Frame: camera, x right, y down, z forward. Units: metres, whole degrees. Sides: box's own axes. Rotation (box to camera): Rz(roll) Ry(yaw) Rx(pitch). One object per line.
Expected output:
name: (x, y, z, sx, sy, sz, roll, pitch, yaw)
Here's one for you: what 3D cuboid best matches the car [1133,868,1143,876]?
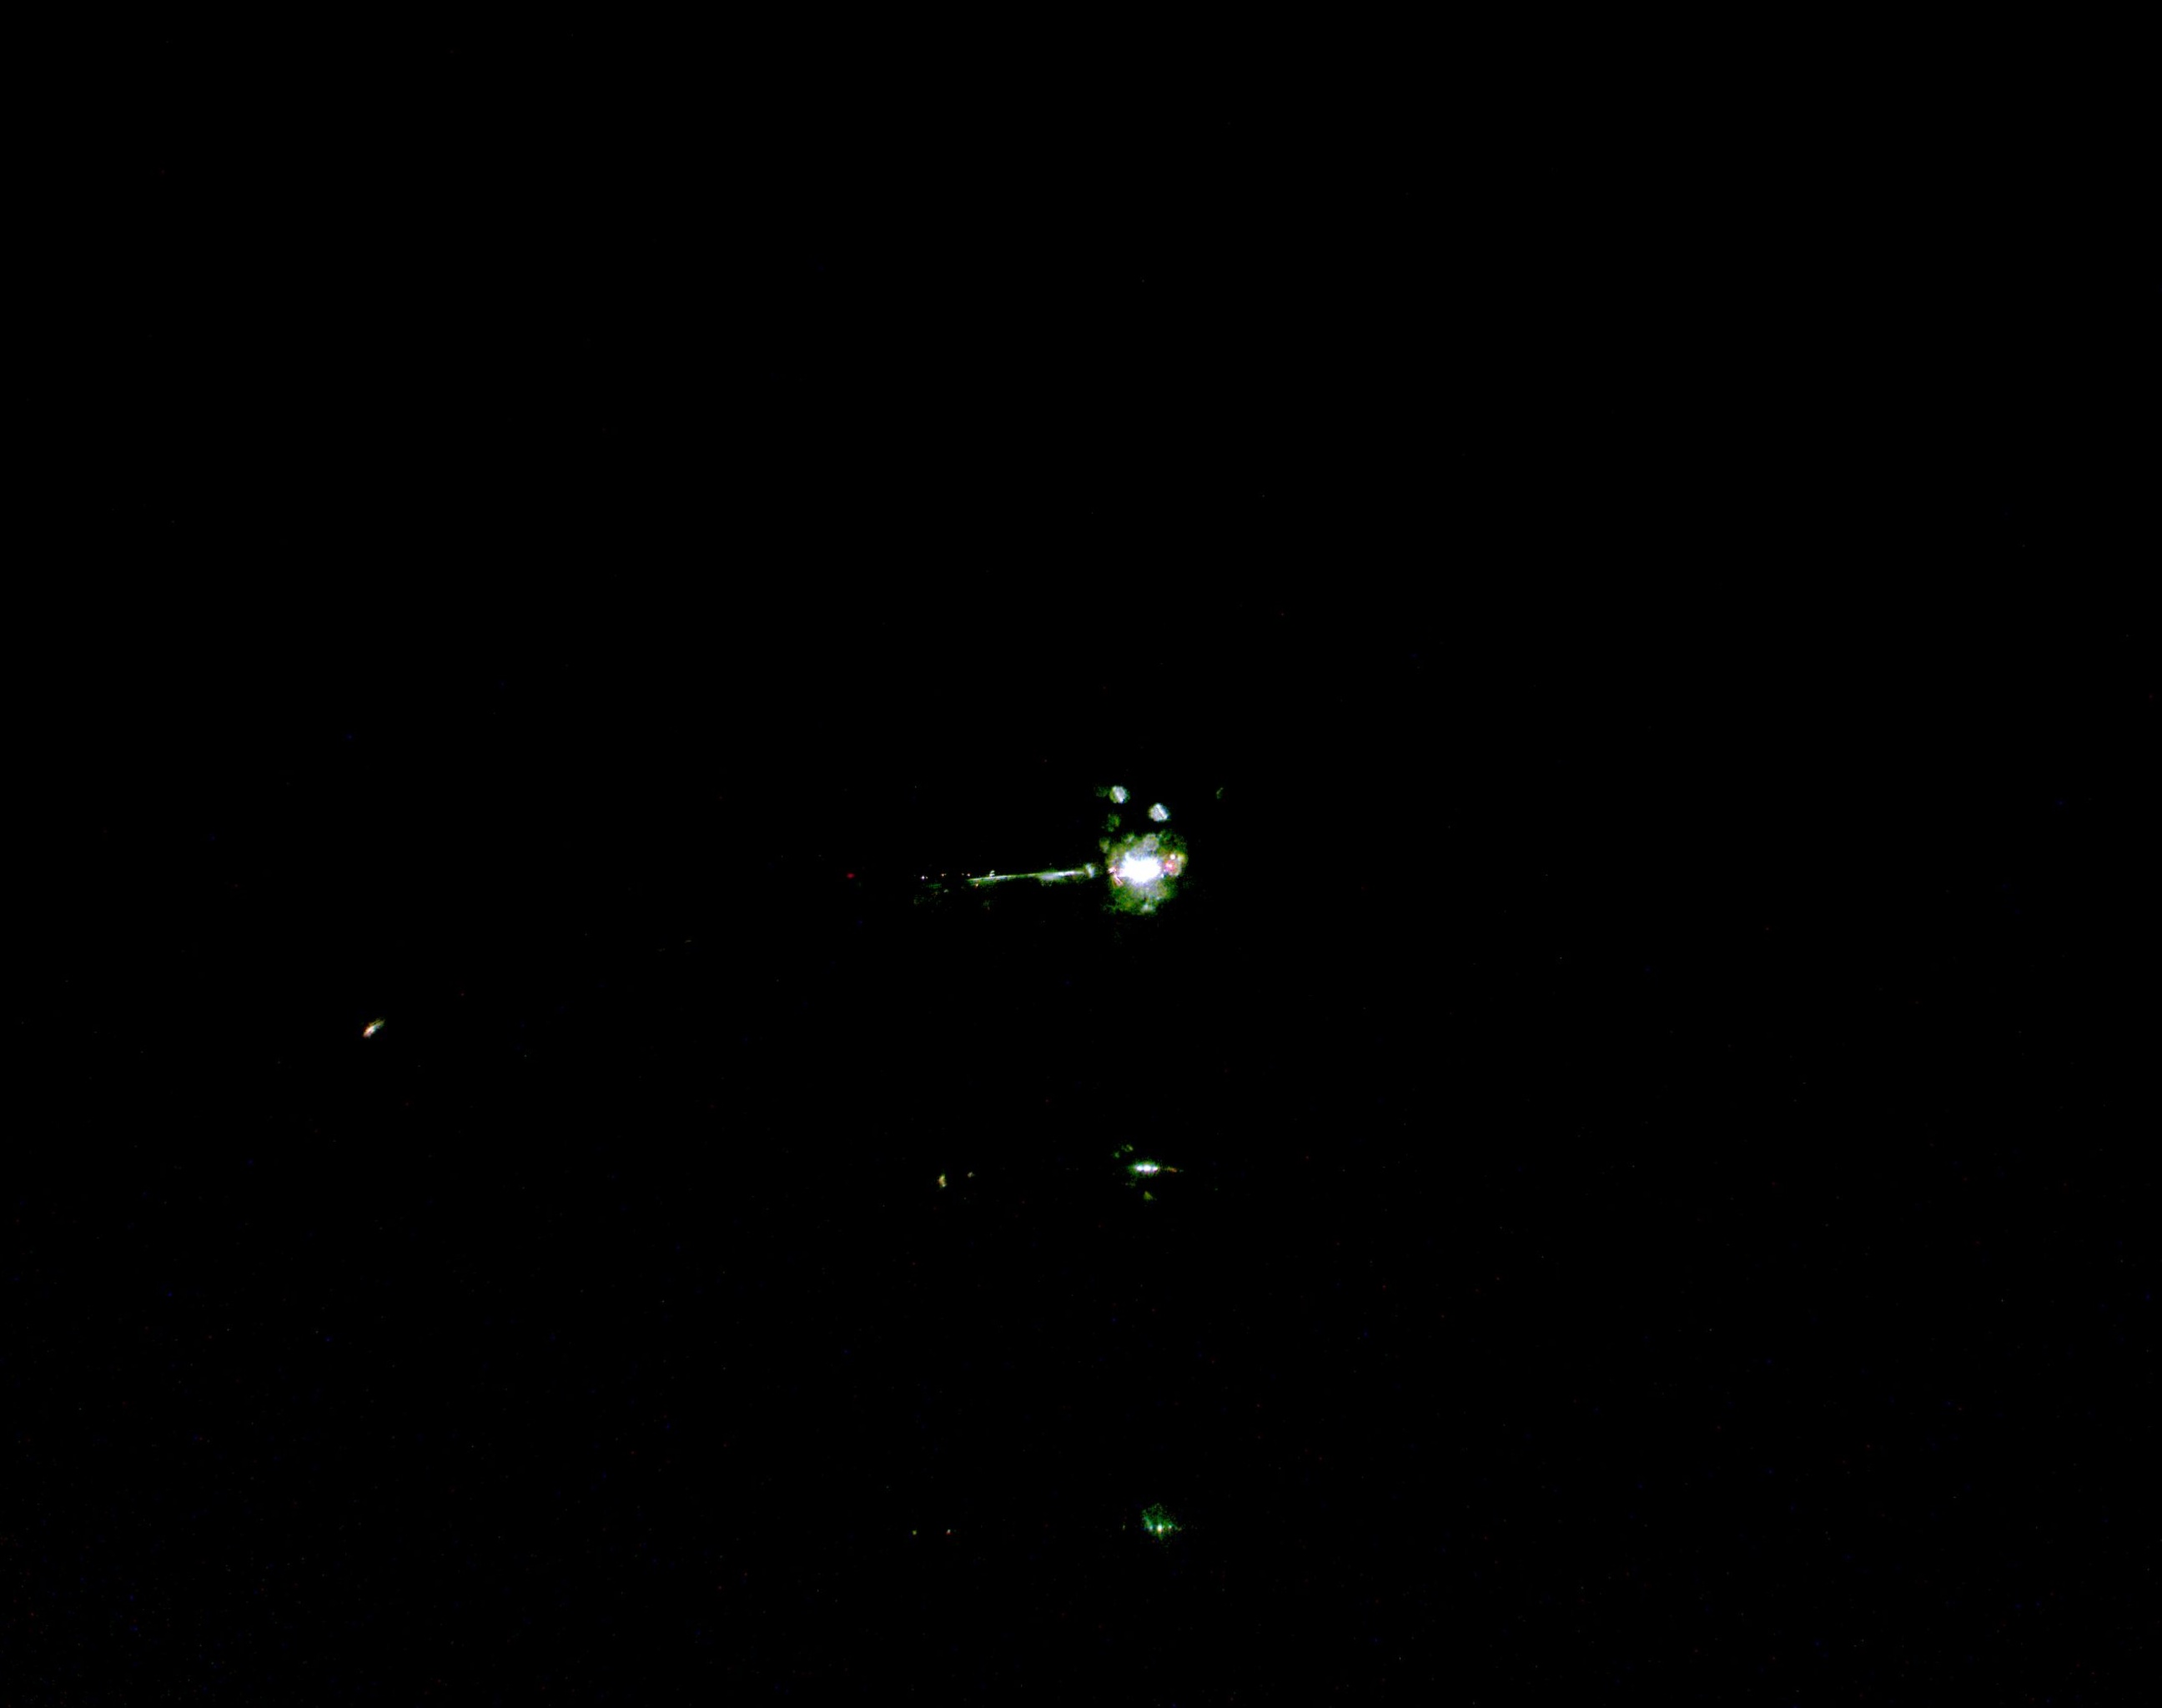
car: (10.260, 3.232, 146.070, 1.731, 1.402, 3.867, -1, -1, 6)
